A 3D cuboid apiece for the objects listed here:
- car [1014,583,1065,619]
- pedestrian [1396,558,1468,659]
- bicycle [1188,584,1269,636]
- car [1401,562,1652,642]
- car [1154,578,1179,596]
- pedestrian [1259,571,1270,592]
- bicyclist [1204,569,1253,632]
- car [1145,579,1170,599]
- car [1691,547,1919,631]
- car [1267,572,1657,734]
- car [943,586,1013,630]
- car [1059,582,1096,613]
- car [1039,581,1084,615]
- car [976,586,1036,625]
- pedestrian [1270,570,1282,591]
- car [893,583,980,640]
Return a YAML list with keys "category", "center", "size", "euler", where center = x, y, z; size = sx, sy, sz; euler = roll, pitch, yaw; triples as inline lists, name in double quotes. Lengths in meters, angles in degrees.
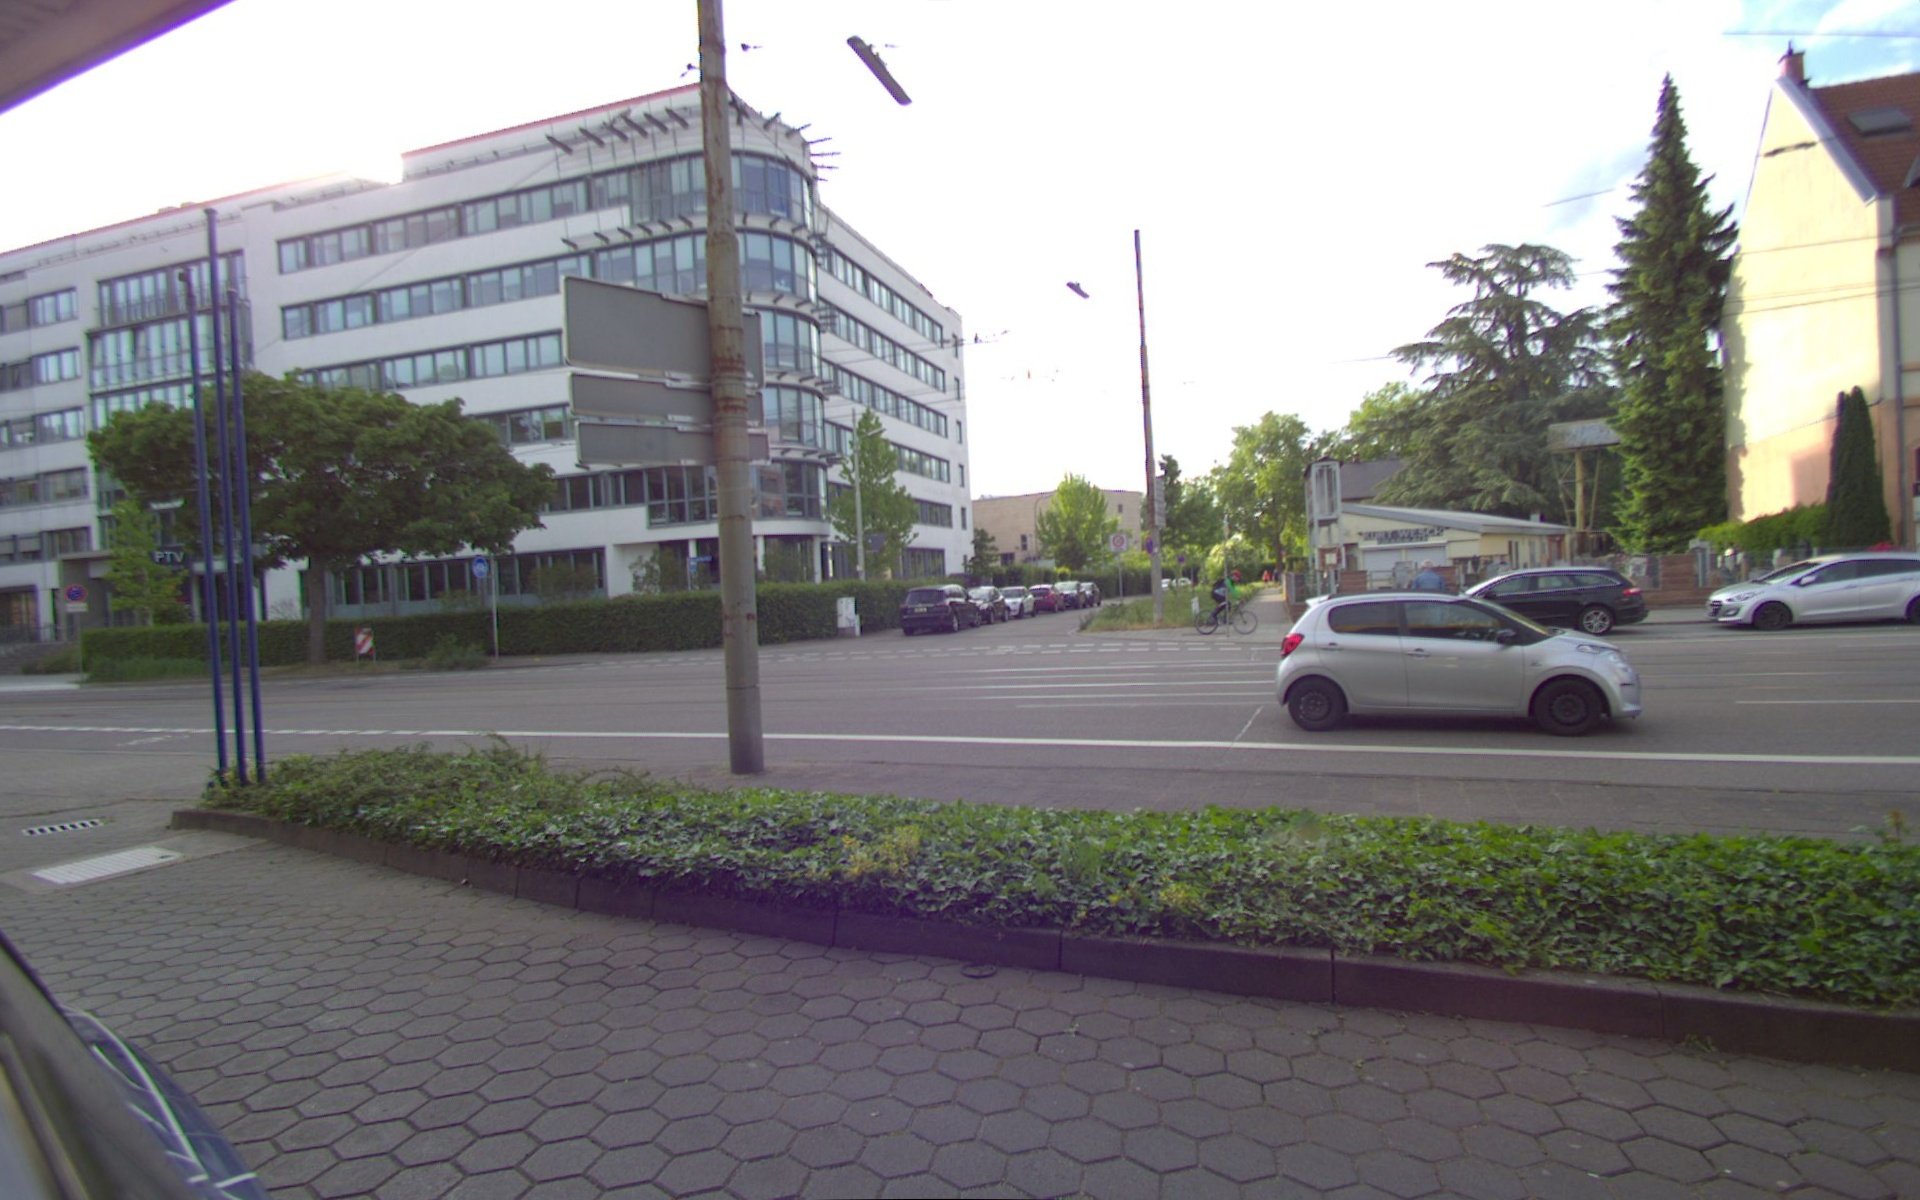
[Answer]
- category: "car"
  center: [4.173, 0.008, 52.497]
  size: [1.929, 1.650, 4.274]
  euler: [-3, 1, 13]
- category: "pedestrian"
  center: [8.216, 0.148, 17.603]
  size: [1.000, 1.680, 0.961]
  euler: [-2, 1, 31]
- category: "bicycle"
  center: [7.275, 0.282, 27.405]
  size: [1.913, 1.320, 0.857]
  euler: [-2, 3, 33]
- category: "car"
  center: [12.908, 0.047, 23.448]
  size: [4.742, 1.511, 2.001]
  euler: [-3, 1, 21]
- category: "car"
  center: [21.688, -1.362, 106.166]
  size: [1.849, 1.748, 4.246]
  euler: [-3, 1, 19]
- category: "pedestrian"
  center: [28.234, -1.728, 93.889]
  size: [0.899, 1.865, 0.942]
  euler: [-3, -1, 20]
- category: "bicyclist"
  center: [7.273, 0.022, 27.398]
  size: [1.025, 1.617, 0.857]
  euler: [-2, 3, 33]
- category: "car"
  center: [19.697, -1.111, 100.796]
  size: [1.849, 1.748, 4.247]
  euler: [-3, 1, 19]
- category: "car"
  center: [18.419, -0.252, 21.386]
  size: [4.424, 1.494, 1.713]
  euler: [-3, 1, 21]
- category: "car"
  center: [5.168, 0.550, 10.790]
  size: [3.406, 1.443, 1.677]
  euler: [-3, 2, 24]
- category: "car"
  center: [0.791, 0.279, 40.980]
  size: [1.929, 1.551, 4.274]
  euler: [-3, 1, 13]
- category: "car"
  center: [7.286, -0.177, 62.500]
  size: [1.731, 1.748, 4.030]
  euler: [-3, 0, 13]
- category: "car"
  center: [5.832, -0.166, 57.726]
  size: [1.929, 1.748, 4.512]
  euler: [-3, 1, 13]
- category: "car"
  center: [2.139, 0.201, 45.791]
  size: [1.929, 1.530, 4.274]
  euler: [-3, 1, 13]
- category: "pedestrian"
  center: [29.220, -1.787, 93.647]
  size: [0.899, 1.865, 0.942]
  euler: [-3, -1, 20]
- category: "car"
  center: [-0.729, 0.350, 35.421]
  size: [1.994, 1.704, 4.274]
  euler: [-3, 1, 13]
